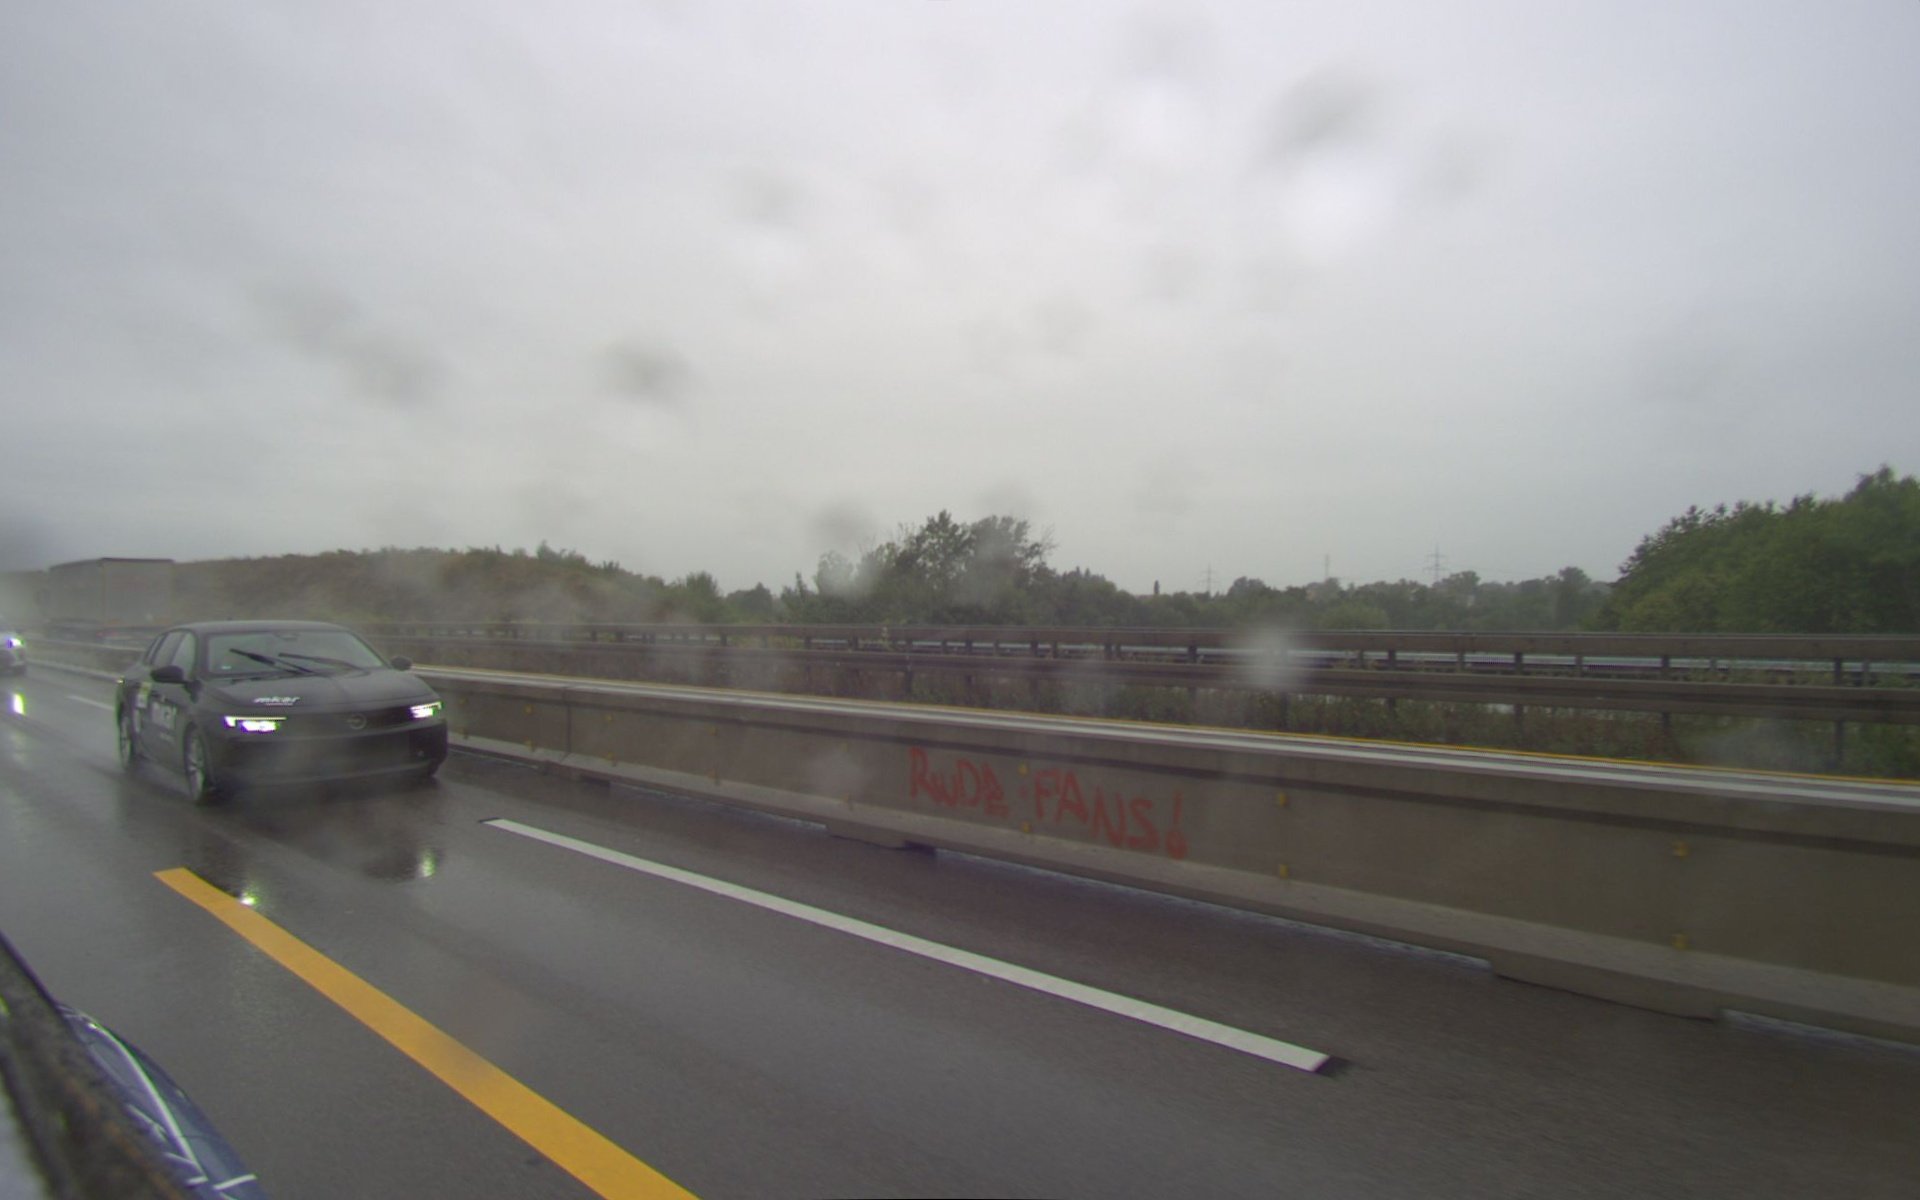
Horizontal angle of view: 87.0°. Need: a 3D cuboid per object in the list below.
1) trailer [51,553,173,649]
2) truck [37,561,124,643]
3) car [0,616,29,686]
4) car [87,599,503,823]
[{"bbox_3d":[-40.976,0.077,48.672,12.308,4.140,2.622,0,0,41],"label":"trailer"},{"bbox_3d":[-46.935,0.105,53.918,6.692,4.158,2.614,0,0,41],"label":"truck"},{"bbox_3d":[-25.658,1.300,26.116,3.997,1.693,1.946,0,0,40],"label":"car"},{"bbox_3d":[-6.262,0.789,9.272,4.792,1.539,1.919,-1,-1,40],"label":"car"}]
